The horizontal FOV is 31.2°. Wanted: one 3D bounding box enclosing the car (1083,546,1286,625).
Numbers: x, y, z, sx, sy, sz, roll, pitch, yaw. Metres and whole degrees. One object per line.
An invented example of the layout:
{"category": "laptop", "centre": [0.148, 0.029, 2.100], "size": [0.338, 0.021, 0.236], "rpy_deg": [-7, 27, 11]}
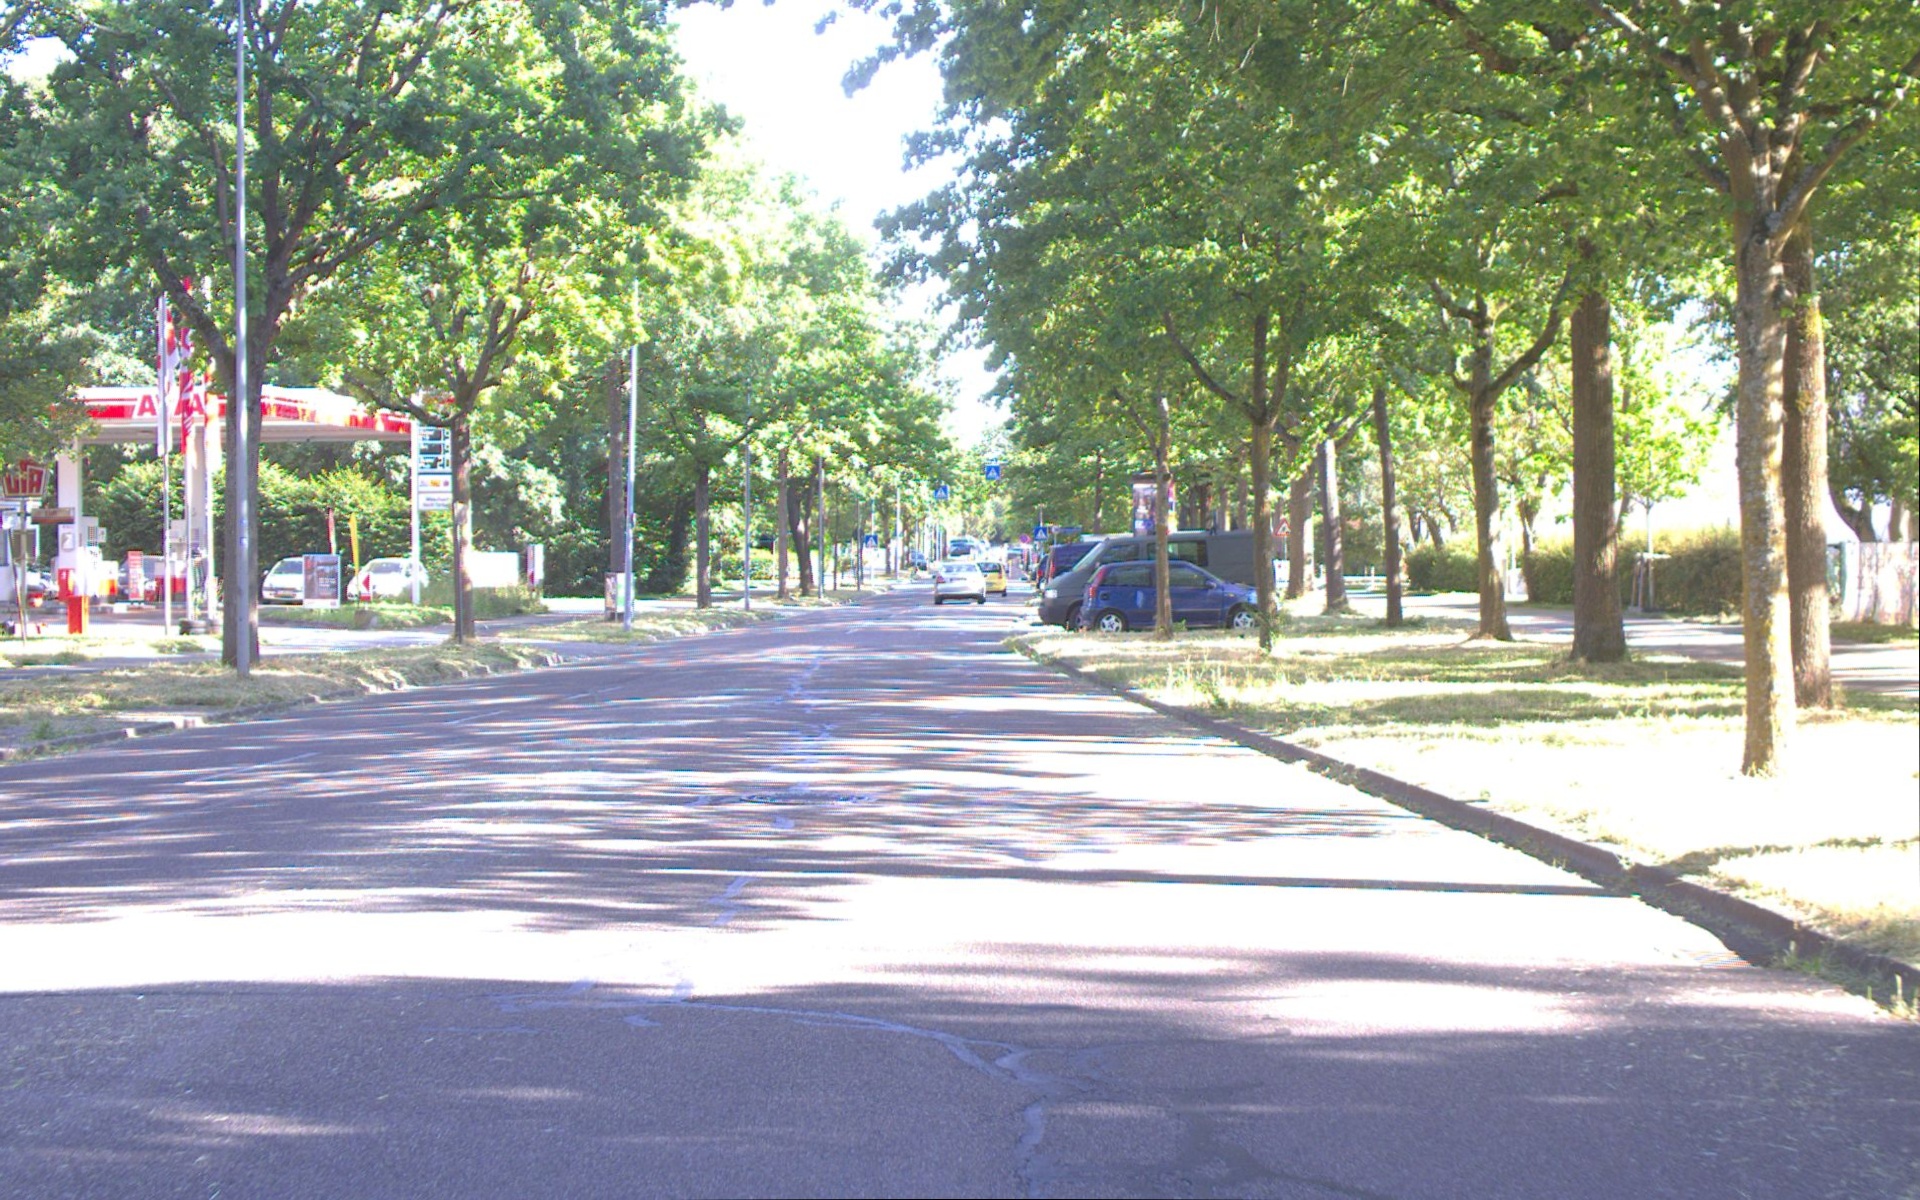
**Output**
{"category": "car", "centre": [4.141, -0.254, 63.670], "size": [3.653, 1.393, 1.317], "rpy_deg": [-1, -1, 0]}

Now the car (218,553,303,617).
{"category": "car", "centre": [-20.772, -0.419, 102.212], "size": [1.801, 1.817, 3.805], "rpy_deg": [-1, 0, -2]}

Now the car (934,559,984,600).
{"category": "car", "centre": [-0.038, -0.691, 117.820], "size": [1.661, 1.332, 3.665], "rpy_deg": [-1, 0, 0]}

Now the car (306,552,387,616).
{"category": "car", "centre": [-18.245, -0.457, 102.344], "size": [1.801, 1.817, 3.805], "rpy_deg": [-1, 0, -2]}

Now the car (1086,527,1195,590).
{"category": "car", "centre": [6.076, -1.392, 115.785], "size": [3.567, 2.044, 1.633], "rpy_deg": [-1, -1, 0]}

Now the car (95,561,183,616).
{"category": "car", "centre": [-24.987, -0.335, 104.743], "size": [1.801, 1.615, 3.805], "rpy_deg": [-1, 0, -1]}

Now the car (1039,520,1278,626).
{"category": "car", "centre": [3.818, -0.508, 66.655], "size": [4.502, 1.946, 1.687], "rpy_deg": [-1, -1, 0]}

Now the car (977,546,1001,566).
{"category": "car", "centre": [2.045, -3.165, 245.460], "size": [1.661, 1.332, 3.665], "rpy_deg": [-1, 0, 0]}

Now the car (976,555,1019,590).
{"category": "car", "centre": [1.502, -1.097, 139.722], "size": [1.661, 1.332, 3.665], "rpy_deg": [-1, 0, 0]}

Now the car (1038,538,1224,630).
{"category": "car", "centre": [3.421, -0.314, 69.149], "size": [3.653, 1.791, 1.317], "rpy_deg": [-1, -1, 0]}
